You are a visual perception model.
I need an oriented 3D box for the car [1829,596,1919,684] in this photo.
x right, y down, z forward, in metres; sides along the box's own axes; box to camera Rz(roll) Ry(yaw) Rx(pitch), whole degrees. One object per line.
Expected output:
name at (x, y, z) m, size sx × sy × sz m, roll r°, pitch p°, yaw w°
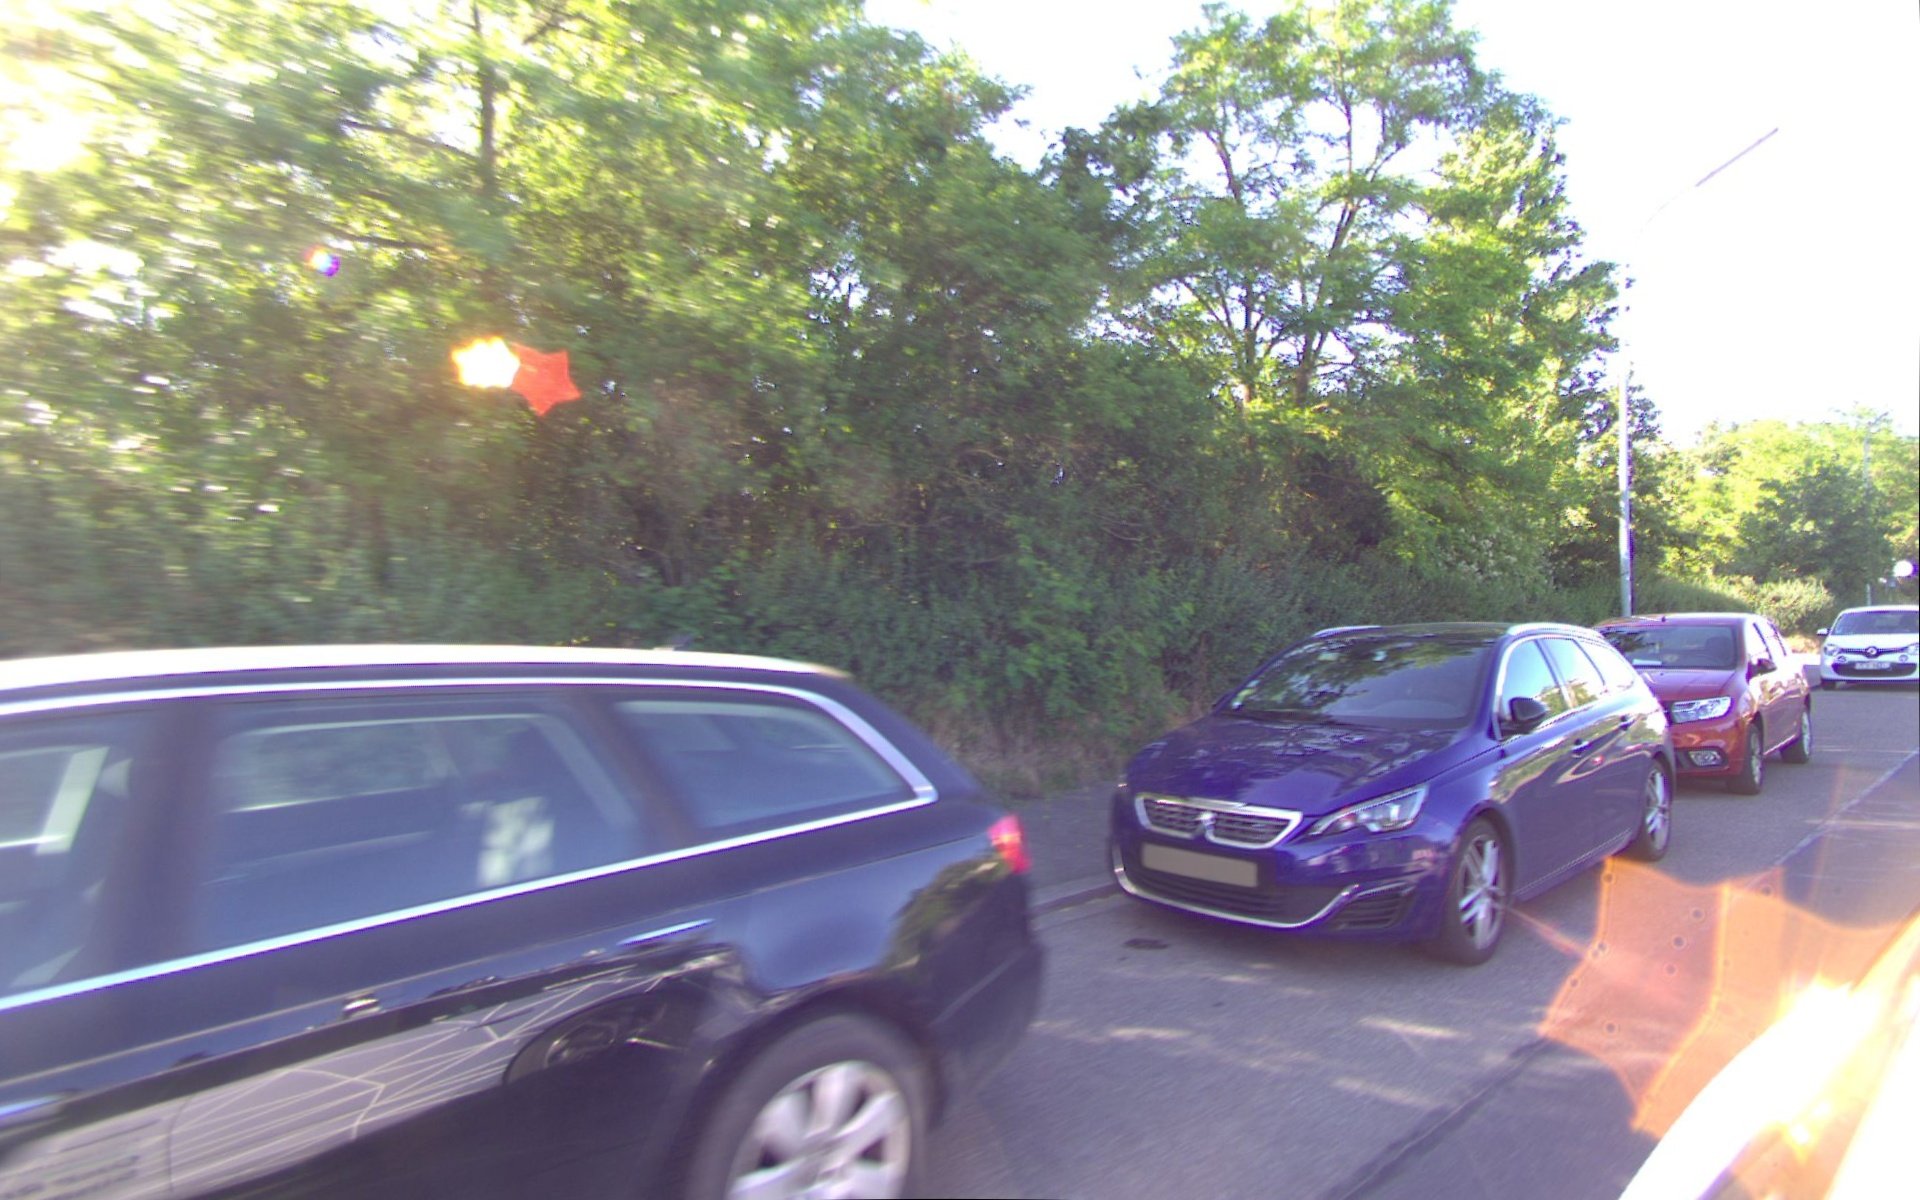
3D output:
car at (18.026, 0.728, 19.379) m, size 3.493 × 1.558 × 1.558 m, roll 0°, pitch -3°, yaw -41°

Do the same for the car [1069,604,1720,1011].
car at (2.802, 0.798, 5.870) m, size 4.576 × 1.463 × 1.656 m, roll 0°, pitch -3°, yaw -42°

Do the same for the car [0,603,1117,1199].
car at (-1.877, 0.763, 1.795) m, size 4.576 × 1.432 × 1.755 m, roll 0°, pitch -3°, yaw -42°

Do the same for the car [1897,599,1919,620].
car at (80.116, 0.778, 83.421) m, size 1.745 × 1.717 × 4.152 m, roll 1°, pitch 0°, yaw -44°

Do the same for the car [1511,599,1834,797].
car at (6.893, 0.783, 9.652) m, size 3.772 × 1.505 × 1.656 m, roll 0°, pitch -3°, yaw -42°
